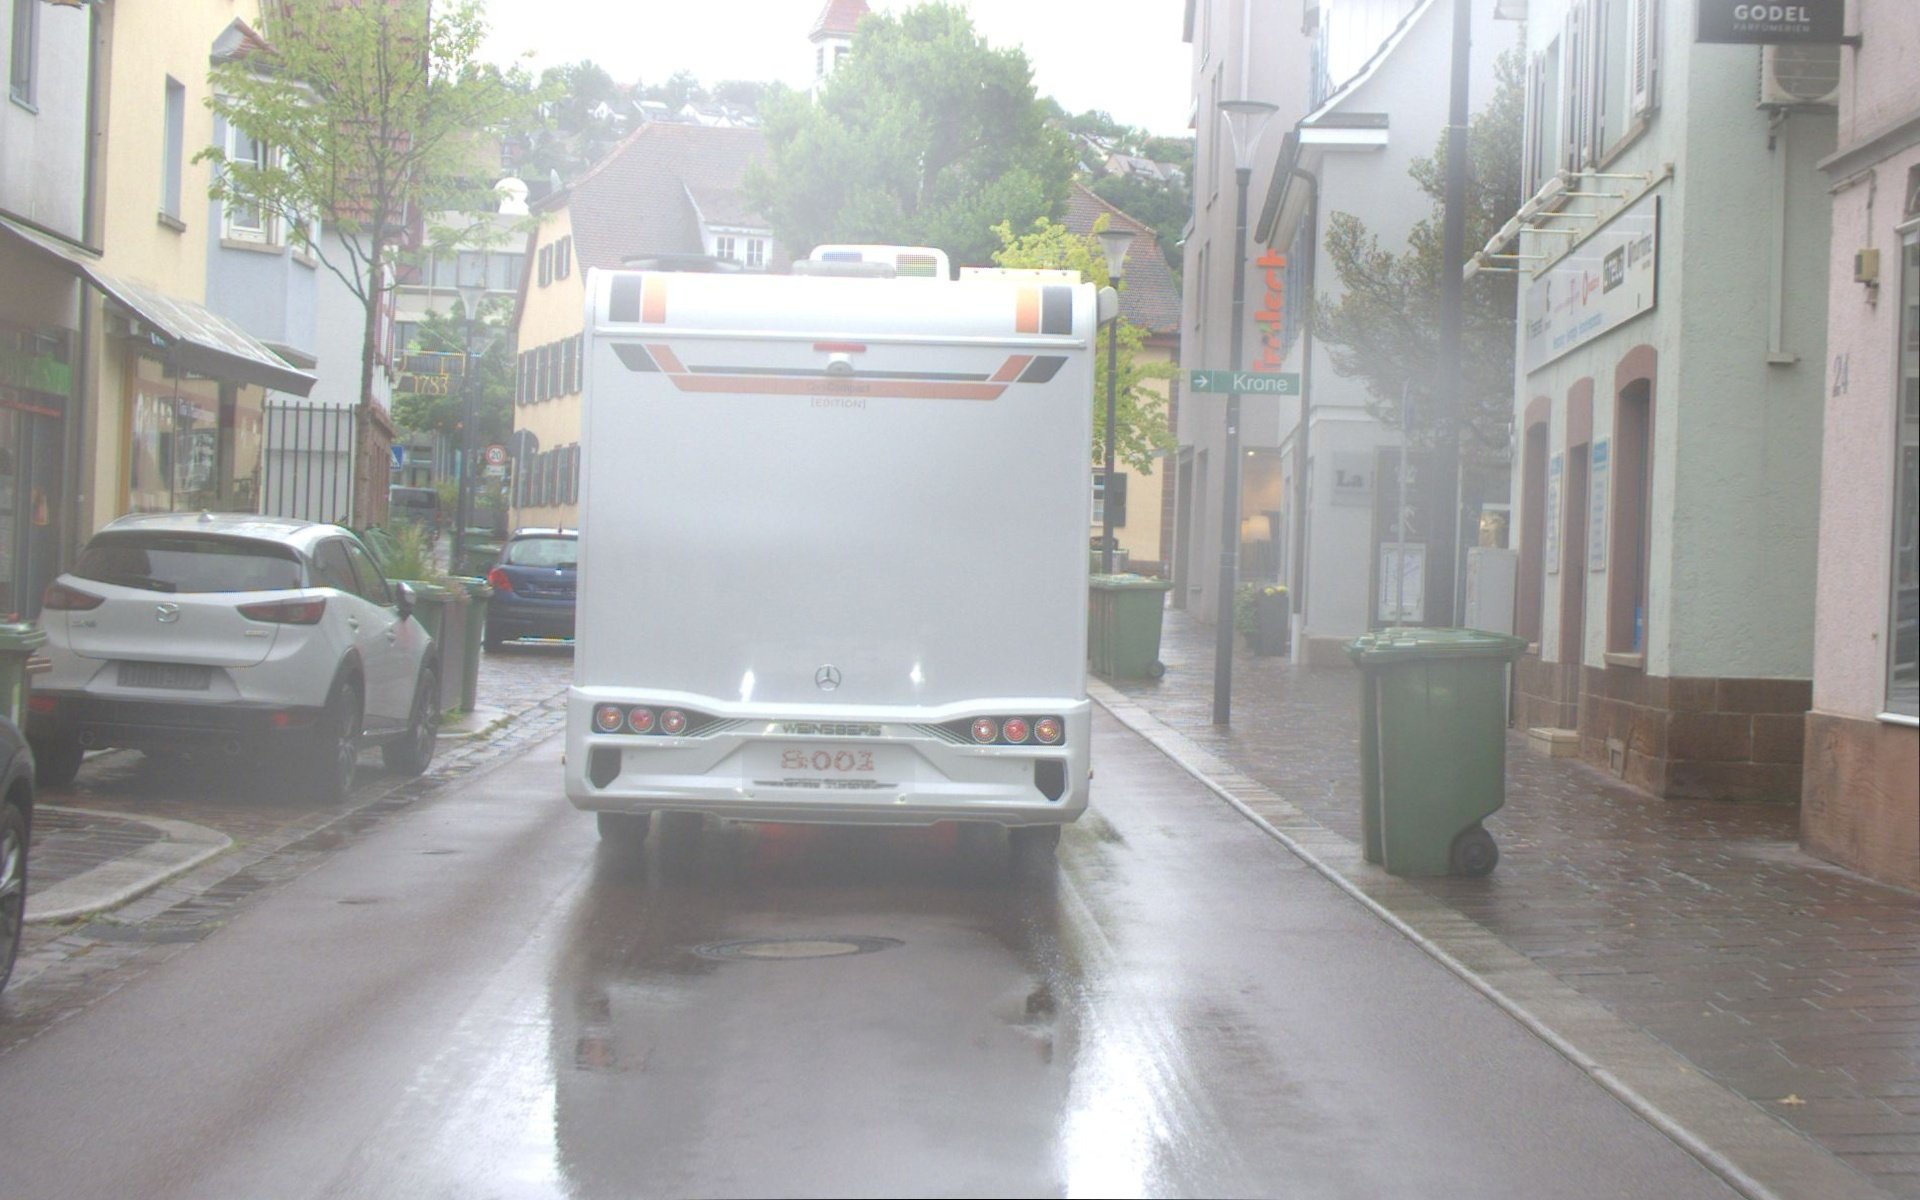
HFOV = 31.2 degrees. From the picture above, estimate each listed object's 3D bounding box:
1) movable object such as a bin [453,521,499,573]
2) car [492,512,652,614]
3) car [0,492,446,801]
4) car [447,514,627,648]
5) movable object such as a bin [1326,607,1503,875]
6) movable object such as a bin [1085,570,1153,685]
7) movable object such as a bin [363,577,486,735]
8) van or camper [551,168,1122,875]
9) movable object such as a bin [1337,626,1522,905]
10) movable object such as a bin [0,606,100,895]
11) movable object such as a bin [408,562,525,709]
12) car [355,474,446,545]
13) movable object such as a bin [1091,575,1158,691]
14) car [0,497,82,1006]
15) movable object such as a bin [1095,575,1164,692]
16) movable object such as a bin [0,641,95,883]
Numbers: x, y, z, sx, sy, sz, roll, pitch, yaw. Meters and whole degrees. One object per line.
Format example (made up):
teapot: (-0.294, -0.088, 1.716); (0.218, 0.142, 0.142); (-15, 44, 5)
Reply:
movable object such as a bin: (-10.117, -1.111, 71.809); (0.818, 1.047, 0.700); (2, 0, -17)
car: (-6.471, -0.637, 56.957); (1.993, 1.489, 4.002); (3, 1, -15)
car: (-4.169, 0.239, 19.954); (1.827, 1.561, 4.000); (2, 0, -2)
car: (-5.114, -0.266, 41.704); (1.993, 1.467, 4.001); (3, 1, -7)
movable object such as a bin: (2.102, 0.642, 15.949); (0.718, 1.197, 0.578); (2, 0, 1)
movable object such as a bin: (1.766, 0.300, 38.247); (0.678, 1.252, 0.543); (2, 0, -2)
movable object such as a bin: (-3.855, 0.398, 24.790); (0.814, 1.102, 0.610); (2, 0, -6)
van or camper: (-0.731, -0.336, 17.689); (2.325, 2.909, 6.394); (2, 0, -4)
movable object such as a bin: (2.093, 0.729, 15.373); (0.718, 1.197, 0.573); (2, 0, 1)
movable object such as a bin: (-3.838, 0.563, 13.383); (0.747, 1.079, 0.763); (2, 0, 1)
movable object such as a bin: (-3.949, 0.282, 27.553); (0.815, 1.102, 0.610); (5, 0, -6)
car: (-16.837, -2.692, 103.327); (1.993, 2.007, 4.001); (2, 0, -19)
movable object such as a bin: (1.803, 0.357, 37.693); (0.658, 1.241, 0.543); (2, 0, -2)
car: (-3.775, 0.439, 9.231); (1.833, 1.546, 4.282); (2, 0, -2)
movable object such as a bin: (1.829, 0.361, 37.107); (0.658, 1.234, 0.621); (2, 0, -2)
movable object such as a bin: (-3.968, 0.650, 14.114); (0.656, 0.952, 0.562); (2, 0, 1)
